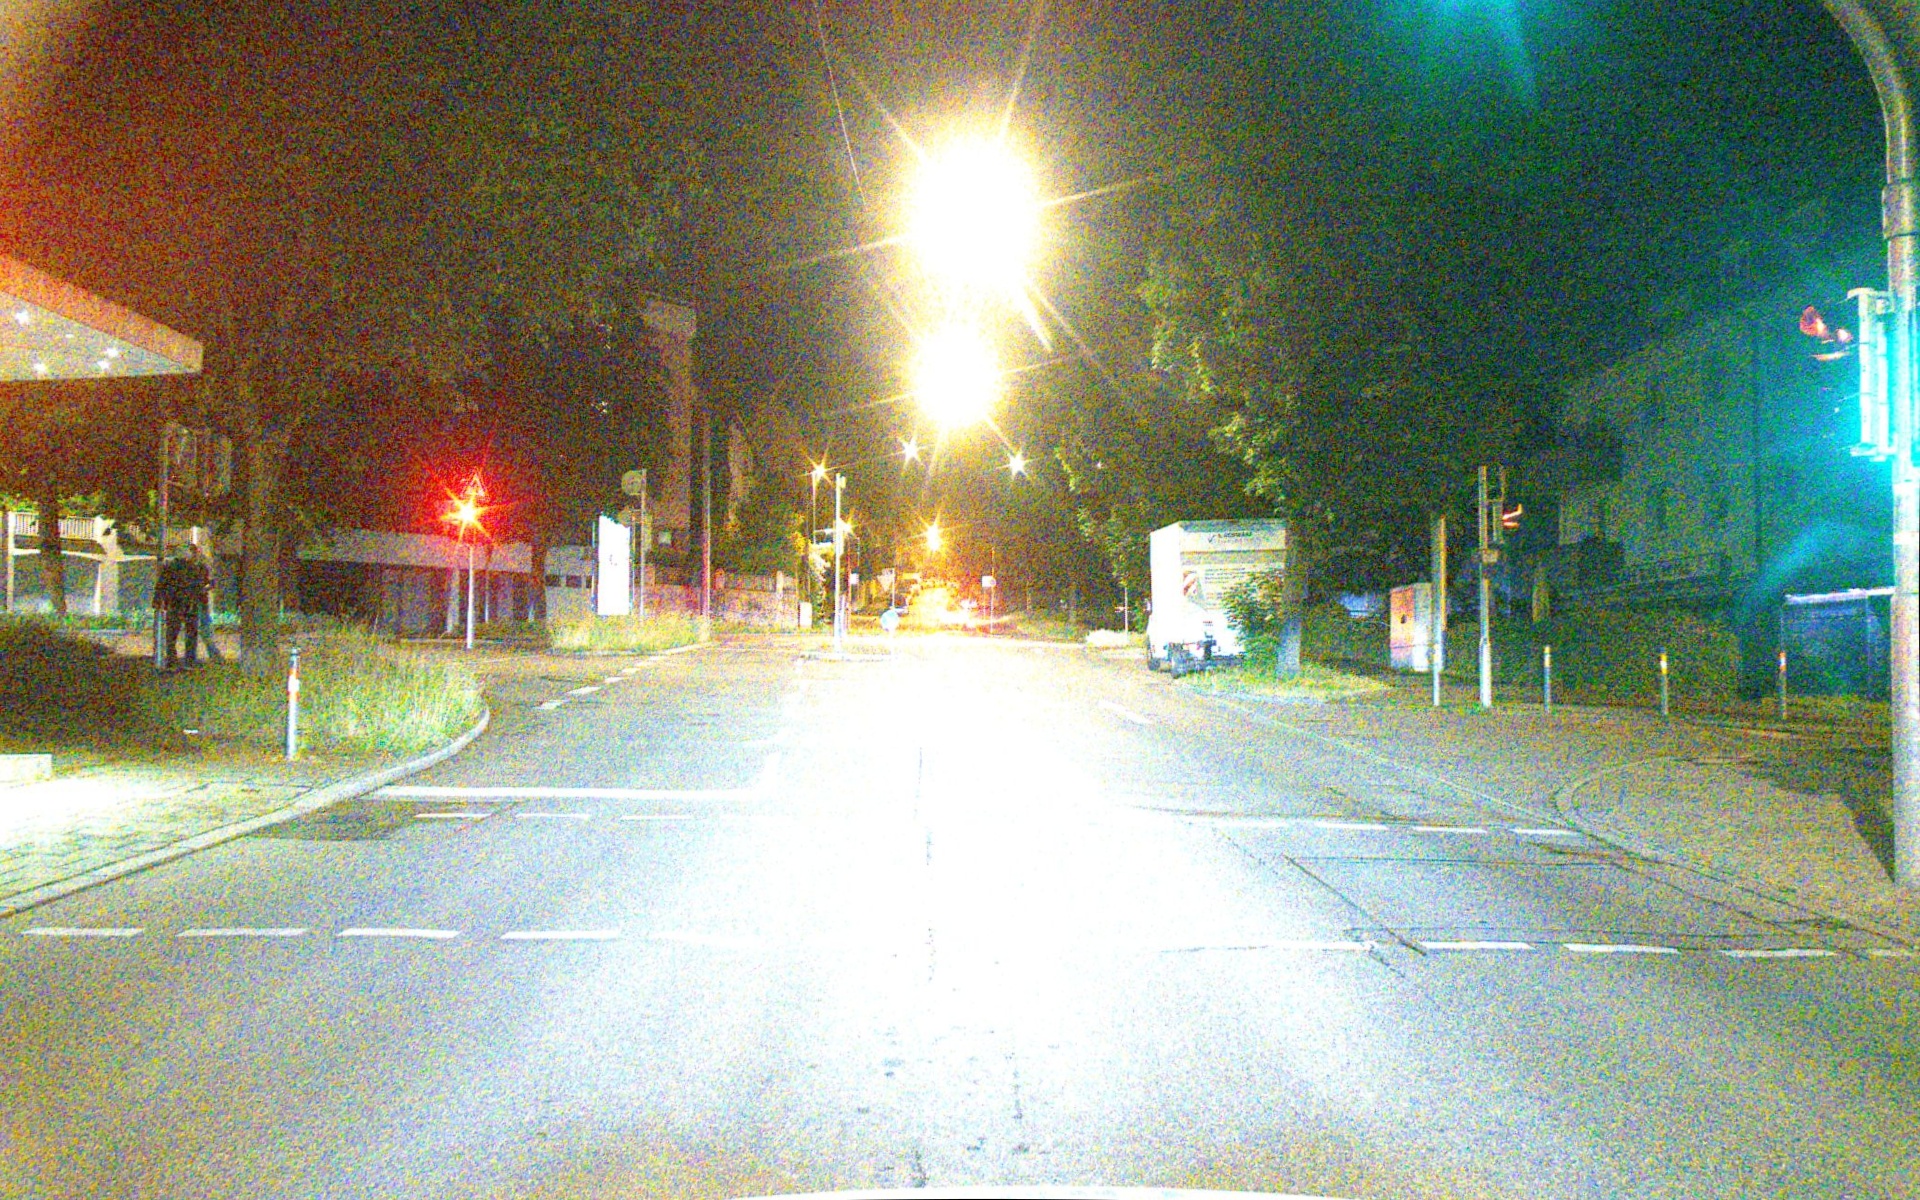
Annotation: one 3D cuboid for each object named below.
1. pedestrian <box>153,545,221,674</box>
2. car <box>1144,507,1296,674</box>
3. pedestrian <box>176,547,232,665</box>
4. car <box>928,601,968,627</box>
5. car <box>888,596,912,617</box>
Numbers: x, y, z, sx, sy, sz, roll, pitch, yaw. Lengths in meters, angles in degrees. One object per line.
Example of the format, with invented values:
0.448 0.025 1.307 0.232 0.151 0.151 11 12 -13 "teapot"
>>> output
-11.160 0.139 23.887 0.558 1.808 0.737 3 -1 -1 "pedestrian"
5.253 -0.175 34.314 2.249 3.147 5.840 -1 0 1 "car"
-11.495 0.091 25.161 0.558 1.761 0.543 1 -1 -1 "pedestrian"
-0.709 0.814 97.936 1.743 1.512 3.991 1 0 -10 "car"
-4.844 0.523 134.293 1.869 1.585 3.903 1 0 -1 "car"
